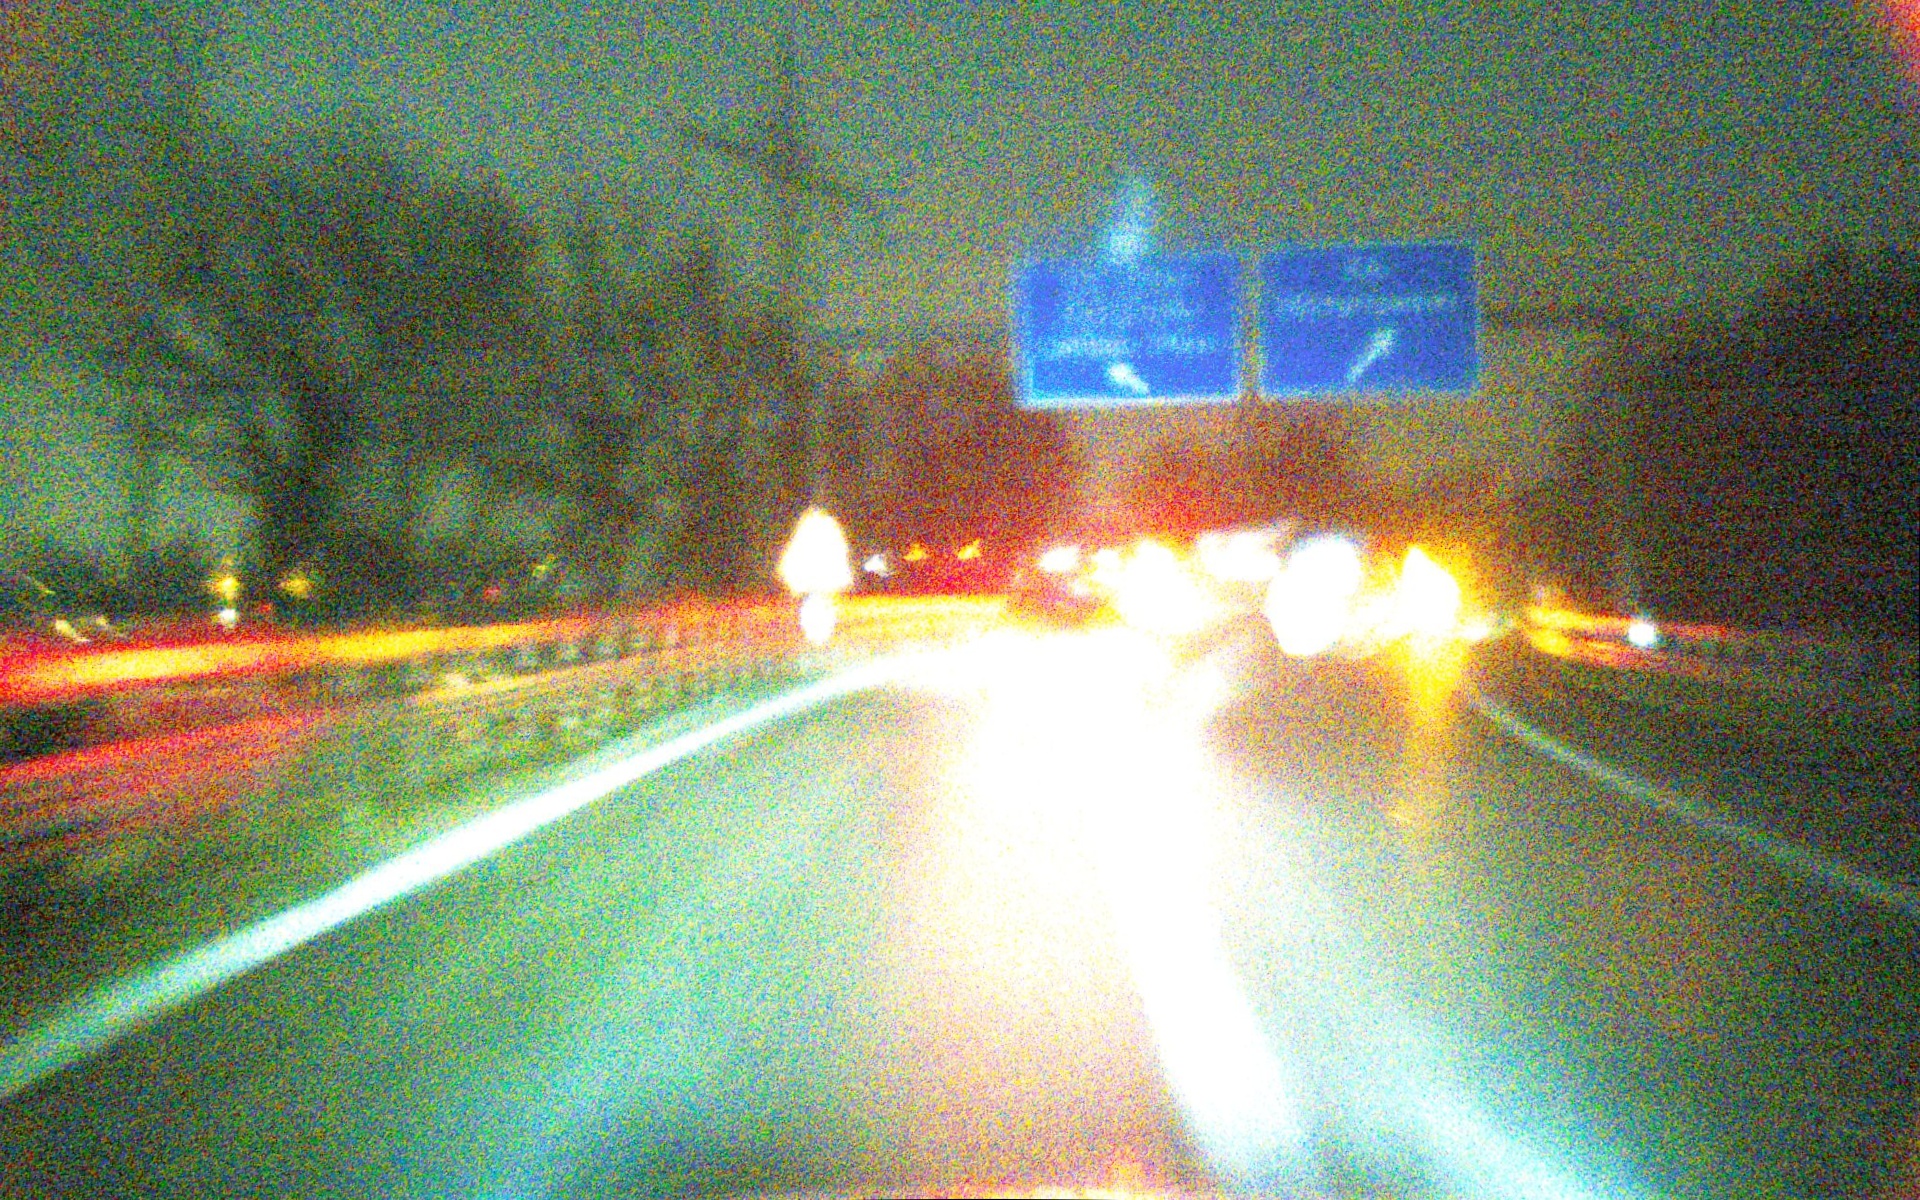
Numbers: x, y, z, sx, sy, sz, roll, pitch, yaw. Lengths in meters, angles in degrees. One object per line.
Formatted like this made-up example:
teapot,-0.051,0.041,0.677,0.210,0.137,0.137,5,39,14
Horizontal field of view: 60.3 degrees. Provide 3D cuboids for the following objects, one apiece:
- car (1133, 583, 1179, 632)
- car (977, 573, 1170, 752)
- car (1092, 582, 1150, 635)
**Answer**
car,8.645,0.352,72.799,1.855,2.076,4.048,0,-1,9
car,1.119,0.579,17.880,1.822,1.676,4.069,1,1,1
car,5.620,0.309,57.268,1.855,1.751,4.048,0,-1,7
